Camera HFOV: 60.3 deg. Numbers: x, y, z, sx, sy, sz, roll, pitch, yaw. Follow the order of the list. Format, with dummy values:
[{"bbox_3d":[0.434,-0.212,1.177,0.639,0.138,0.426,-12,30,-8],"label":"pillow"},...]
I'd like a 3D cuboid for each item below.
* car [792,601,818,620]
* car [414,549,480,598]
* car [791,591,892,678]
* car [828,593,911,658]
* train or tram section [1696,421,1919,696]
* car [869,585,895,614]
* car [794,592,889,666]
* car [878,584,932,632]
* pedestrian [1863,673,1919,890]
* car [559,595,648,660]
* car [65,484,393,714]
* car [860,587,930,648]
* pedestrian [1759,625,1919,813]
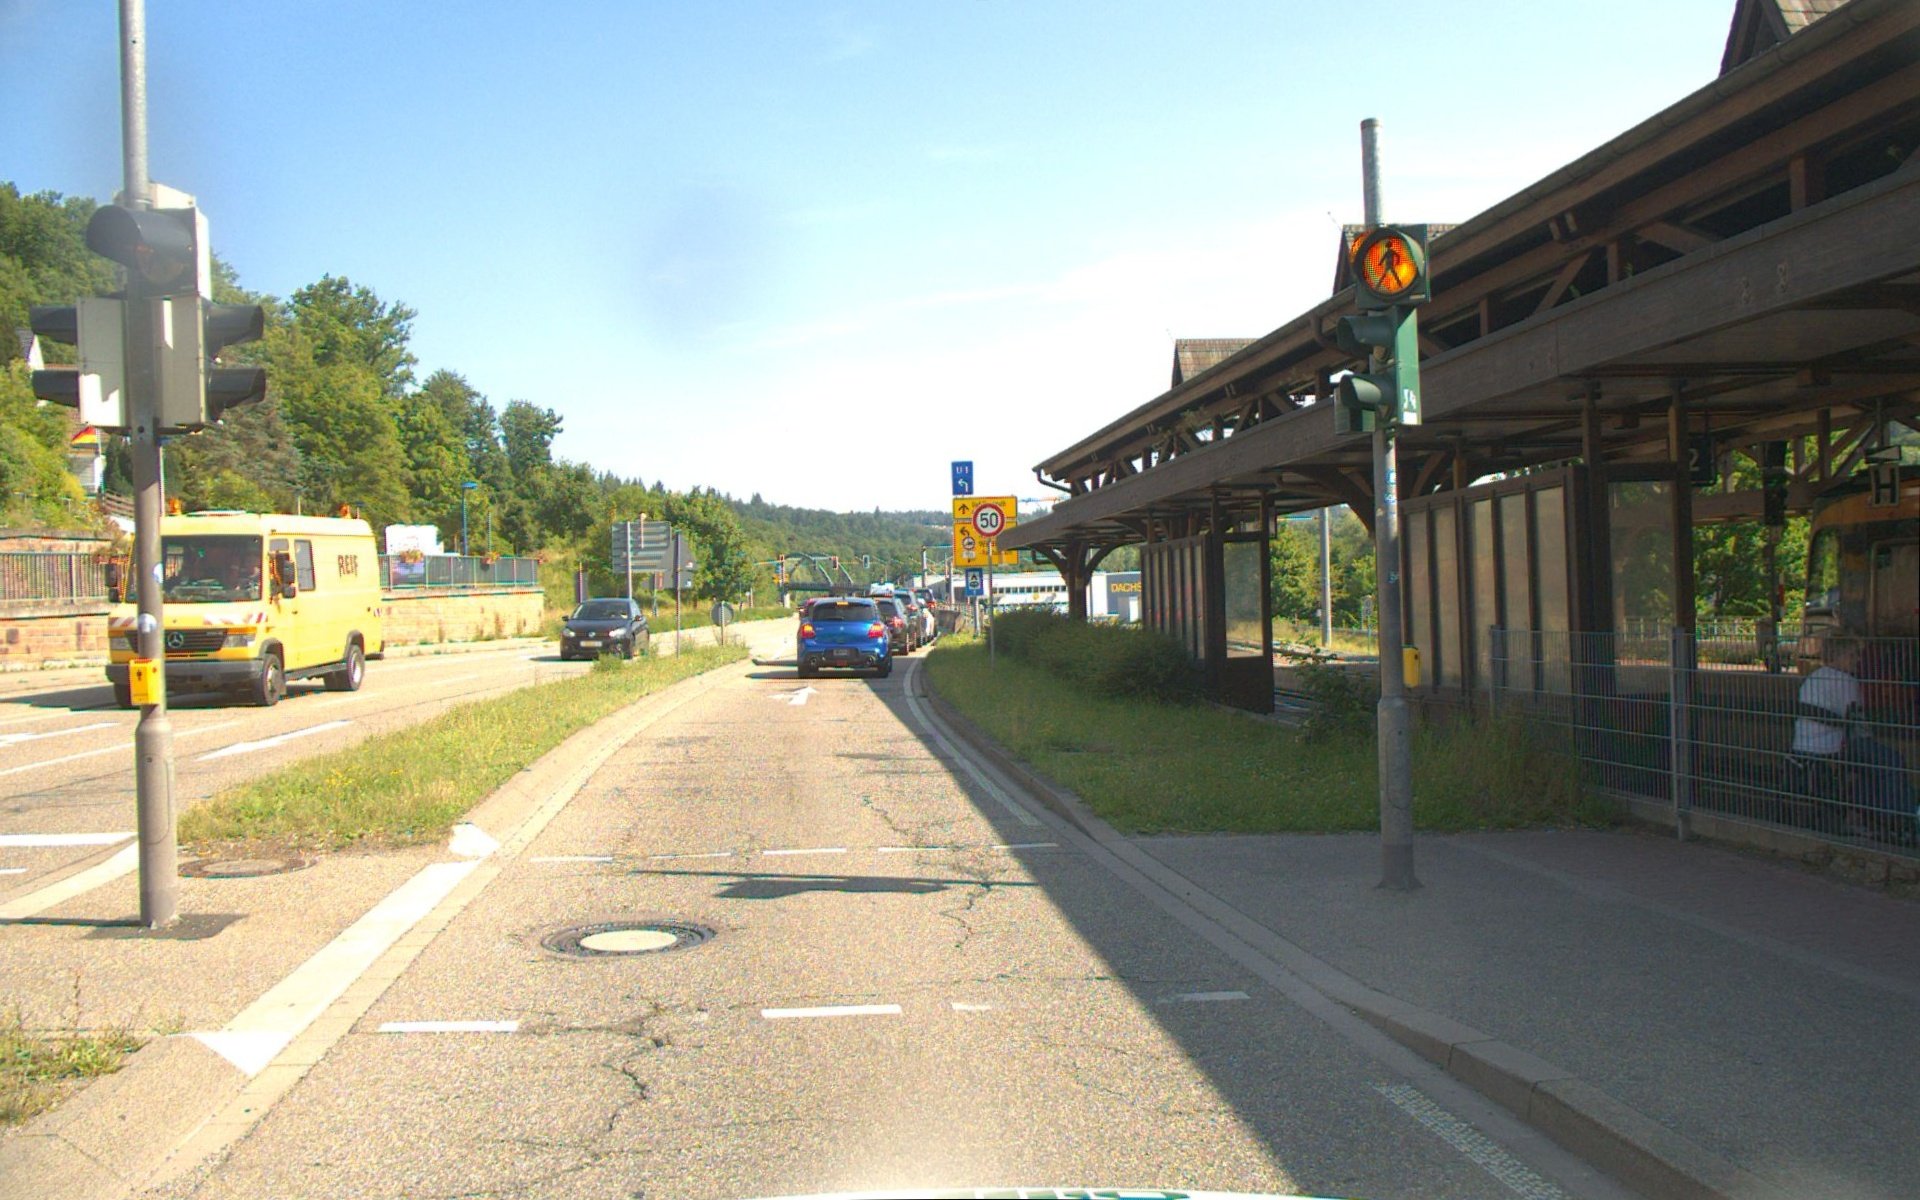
[{"bbox_3d":[-13.311,0.892,142.371,1.755,1.496,4.716,0,0,0],"label":"car"},{"bbox_3d":[-21.679,-1.135,70.066,1.983,1.953,4.722,1,1,-9],"label":"car"},{"bbox_3d":[-2.280,0.628,32.293,1.831,1.575,3.997,0,0,-3],"label":"car"},{"bbox_3d":[-2.310,0.631,43.236,1.953,1.558,4.601,-1,0,-1],"label":"car"},{"bbox_3d":[13.414,-0.485,19.672,2.703,3.423,12.030,1,0,-7],"label":"train or tram section"},{"bbox_3d":[-6.143,-0.033,130.063,1.953,2.182,4.717,0,0,-3],"label":"car"},{"bbox_3d":[-2.662,0.639,37.951,1.953,1.599,3.999,0,0,-1],"label":"car"},{"bbox_3d":[-2.064,0.284,63.298,1.953,1.766,3.999,1,0,-1],"label":"car"},{"bbox_3d":[4.888,0.874,7.844,0.728,0.999,0.767,1,1,-10],"label":"pedestrian"},{"bbox_3d":[-8.791,0.647,41.048,1.712,1.488,4.038,-1,0,-6],"label":"car"},{"bbox_3d":[-10.880,-0.002,25.360,2.418,3.063,6.461,1,0,-3],"label":"car"},{"bbox_3d":[-1.897,0.495,49.343,1.953,1.716,4.496,1,0,-1],"label":"car"},{"bbox_3d":[5.678,0.744,10.604,0.728,1.136,0.666,1,1,-10],"label":"pedestrian"}]
